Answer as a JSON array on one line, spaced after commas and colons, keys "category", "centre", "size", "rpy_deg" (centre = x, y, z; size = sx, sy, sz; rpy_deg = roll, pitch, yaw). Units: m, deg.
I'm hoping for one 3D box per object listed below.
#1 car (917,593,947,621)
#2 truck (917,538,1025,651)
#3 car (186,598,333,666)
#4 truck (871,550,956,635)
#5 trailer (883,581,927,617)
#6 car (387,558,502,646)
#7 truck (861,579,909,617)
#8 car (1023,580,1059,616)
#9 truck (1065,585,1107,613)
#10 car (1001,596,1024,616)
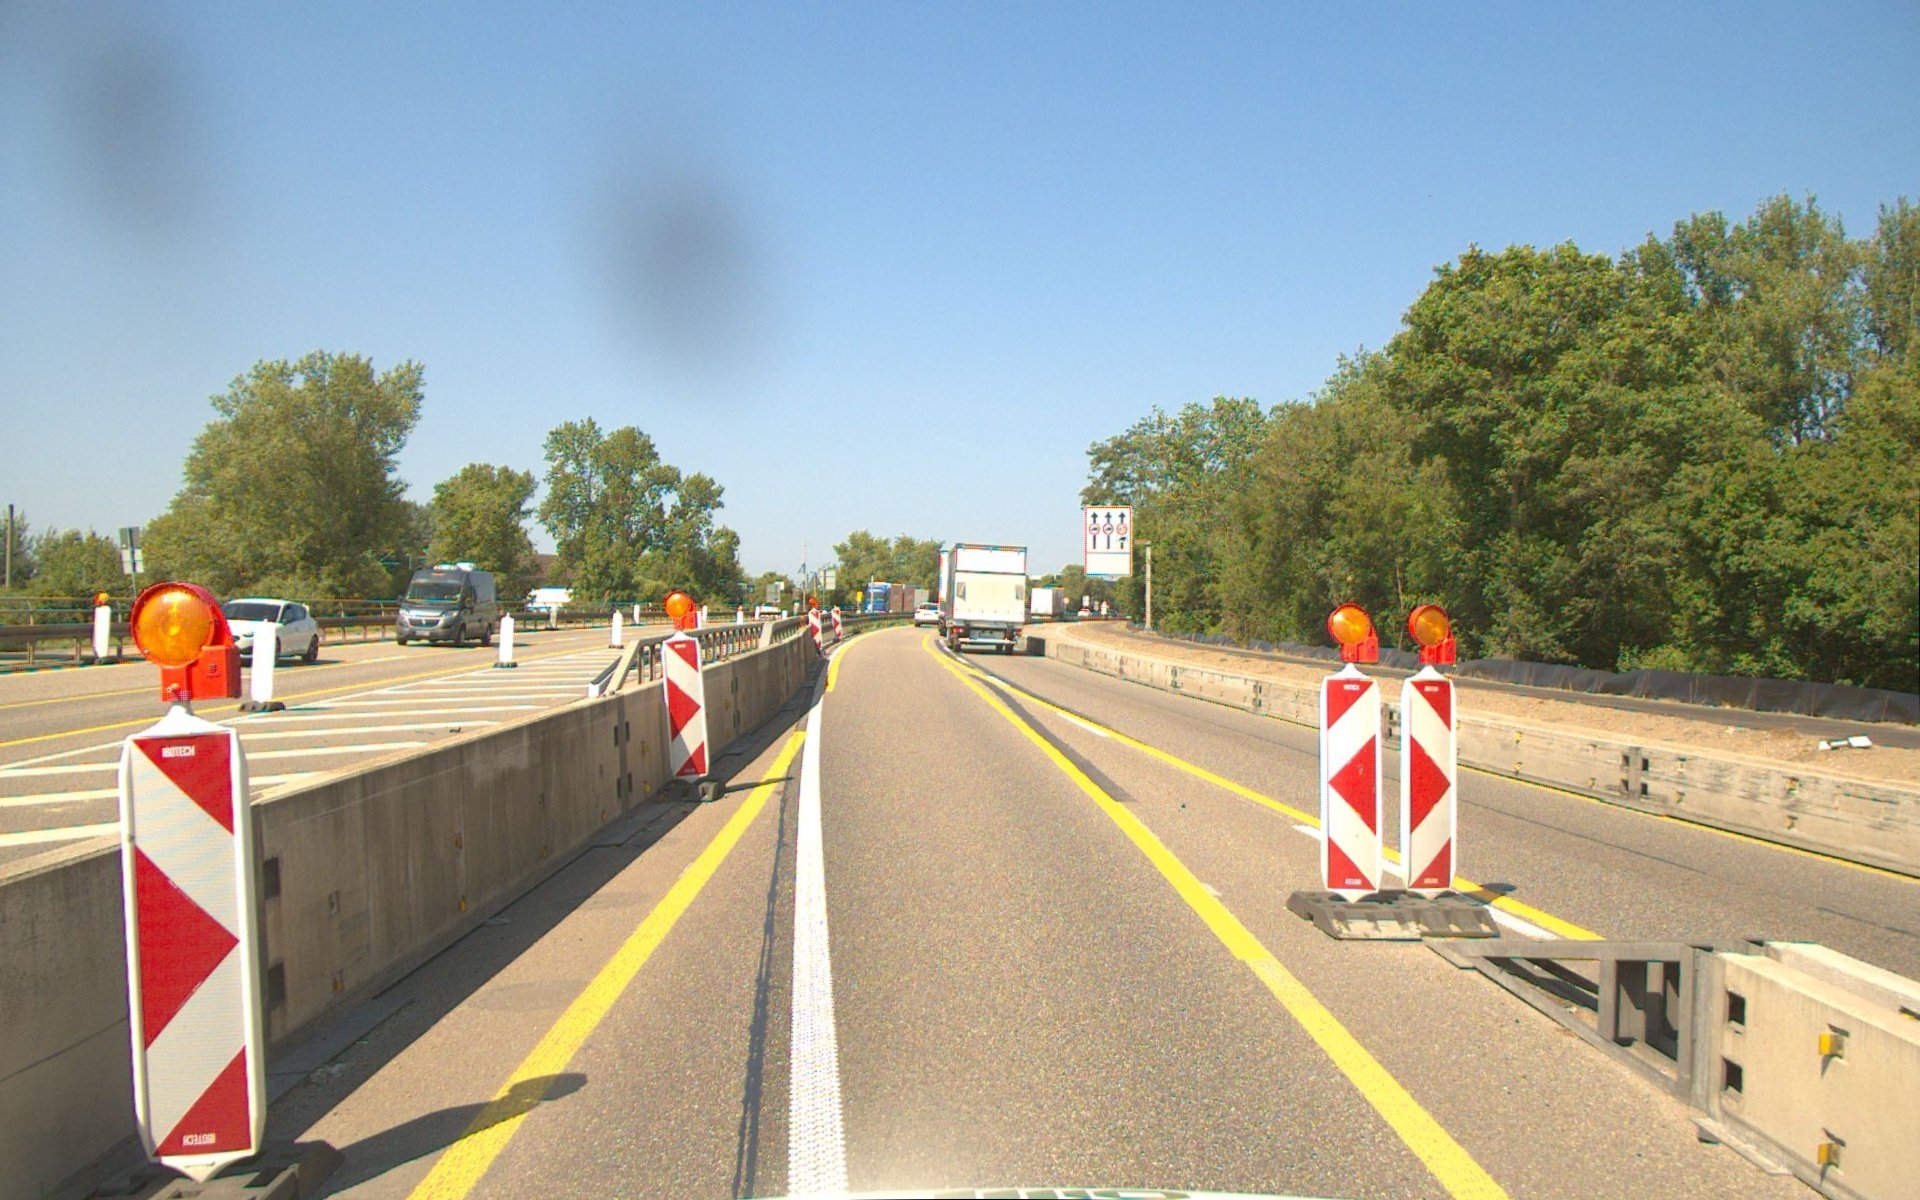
[{"category": "car", "centre": [-1.845, 0.458, 111.045], "size": [1.779, 1.807, 4.001], "rpy_deg": [-1, 0, 2]}, {"category": "truck", "centre": [0.259, -0.193, 55.080], "size": [2.585, 3.487, 7.220], "rpy_deg": [1, 0, -8]}, {"category": "car", "centre": [-15.898, 0.691, 37.803], "size": [1.685, 1.421, 4.516], "rpy_deg": [1, 0, -4]}, {"category": "truck", "centre": [-2.331, -0.359, 79.260], "size": [3.325, 3.840, 7.220], "rpy_deg": [-1, 0, -8]}, {"category": "trailer", "centre": [-6.633, -0.135, 201.610], "size": [2.973, 4.162, 9.796], "rpy_deg": [2, 0, 11]}, {"category": "car", "centre": [-16.761, 0.057, 54.070], "size": [2.102, 2.707, 5.544], "rpy_deg": [1, 0, -1]}, {"category": "truck", "centre": [-8.626, -0.212, 191.590], "size": [2.973, 4.162, 10.633], "rpy_deg": [2, 0, 11]}, {"category": "car", "centre": [10.017, -0.248, 203.069], "size": [4.119, 4.326, 10.667], "rpy_deg": [-1, 0, 4]}, {"category": "truck", "centre": [19.829, -0.192, 259.533], "size": [4.132, 4.341, 10.244], "rpy_deg": [-1, 0, 19]}, {"category": "car", "centre": [5.327, 0.591, 168.858], "size": [1.951, 2.049, 4.003], "rpy_deg": [-1, 0, 7]}]
